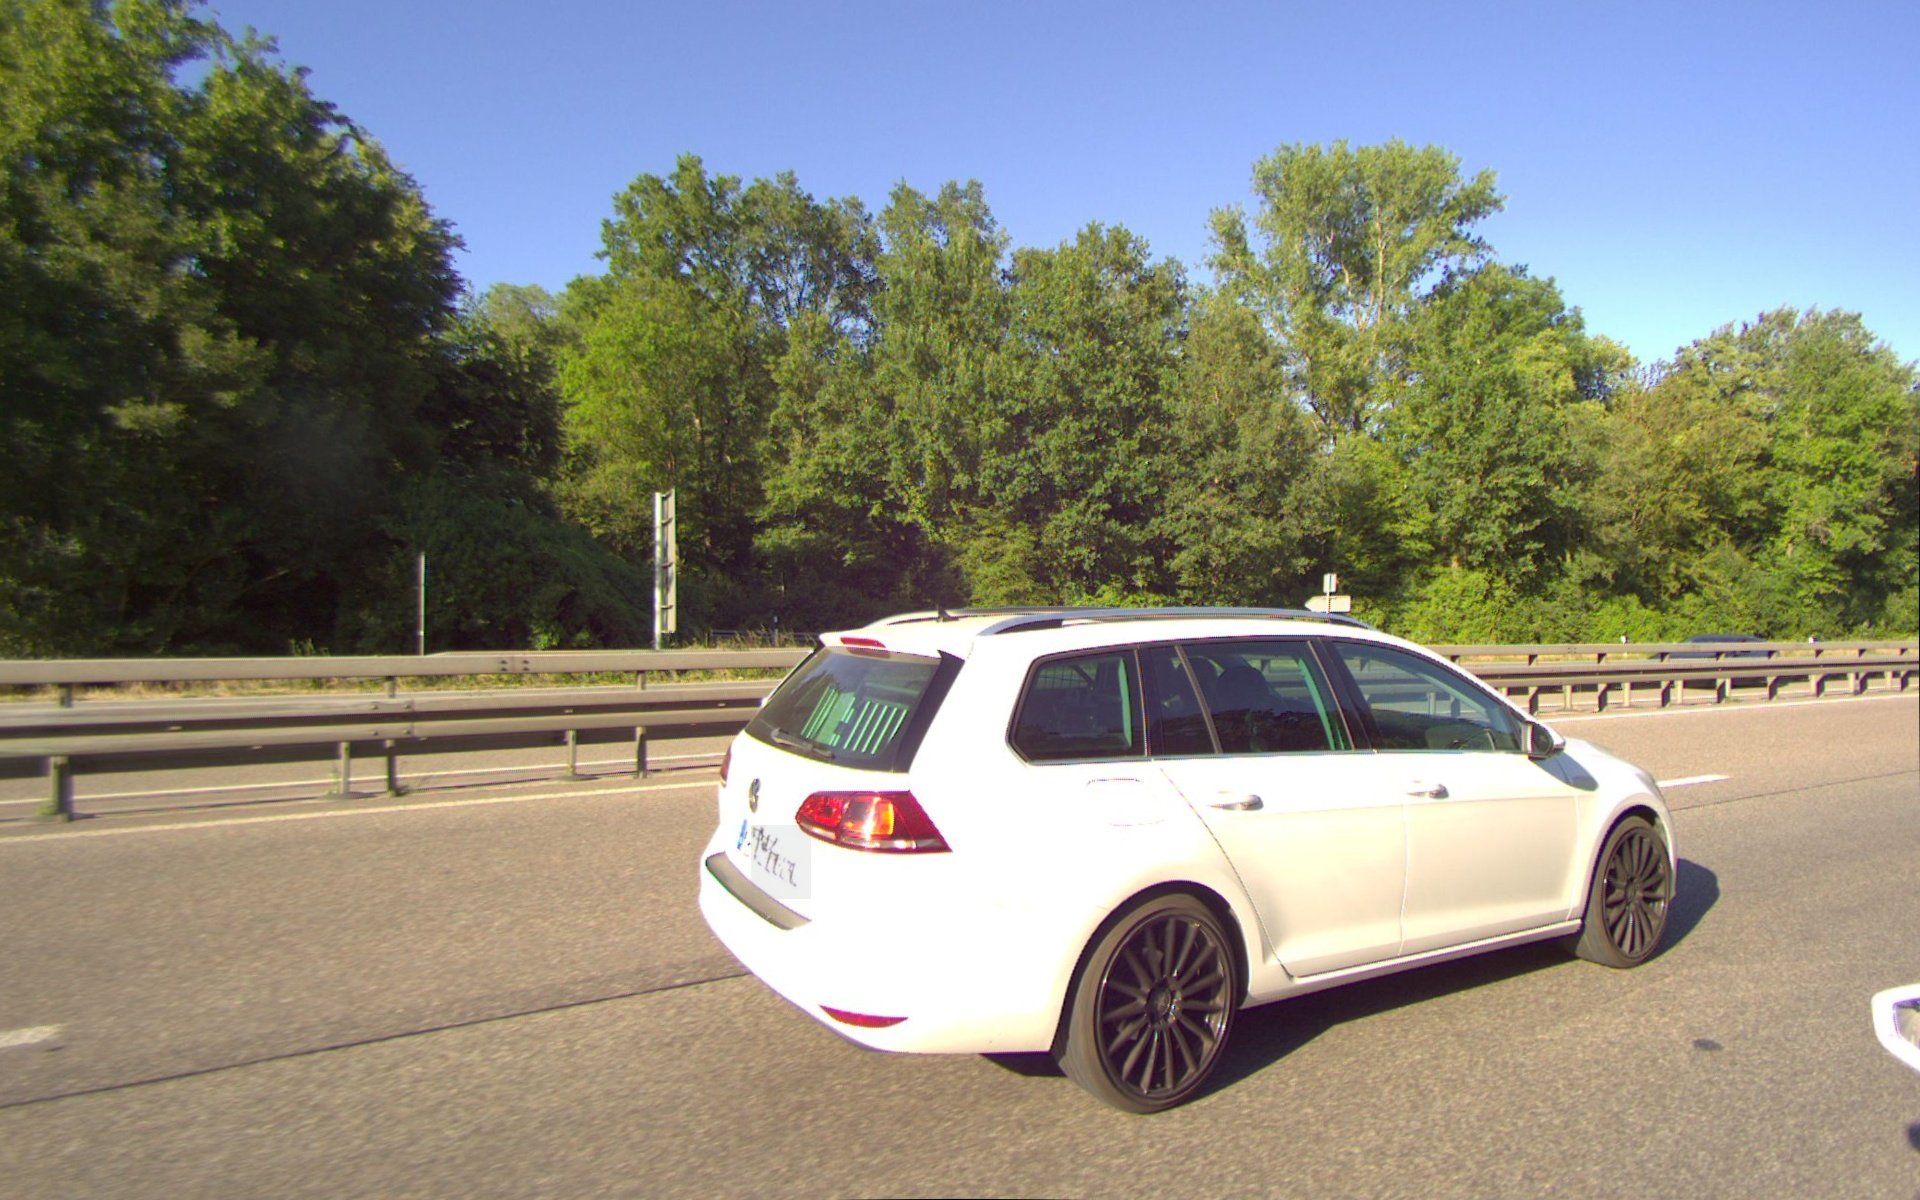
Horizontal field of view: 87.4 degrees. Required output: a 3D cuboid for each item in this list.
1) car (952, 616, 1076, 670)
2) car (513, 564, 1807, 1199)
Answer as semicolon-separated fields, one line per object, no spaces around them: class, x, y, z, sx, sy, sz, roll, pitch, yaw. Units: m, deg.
car;2.061;1.669;39.229;4.575;1.884;1.999;2;-1;-3
car;1.201;0.745;4.298;5.532;1.528;1.920;1;0;-30
